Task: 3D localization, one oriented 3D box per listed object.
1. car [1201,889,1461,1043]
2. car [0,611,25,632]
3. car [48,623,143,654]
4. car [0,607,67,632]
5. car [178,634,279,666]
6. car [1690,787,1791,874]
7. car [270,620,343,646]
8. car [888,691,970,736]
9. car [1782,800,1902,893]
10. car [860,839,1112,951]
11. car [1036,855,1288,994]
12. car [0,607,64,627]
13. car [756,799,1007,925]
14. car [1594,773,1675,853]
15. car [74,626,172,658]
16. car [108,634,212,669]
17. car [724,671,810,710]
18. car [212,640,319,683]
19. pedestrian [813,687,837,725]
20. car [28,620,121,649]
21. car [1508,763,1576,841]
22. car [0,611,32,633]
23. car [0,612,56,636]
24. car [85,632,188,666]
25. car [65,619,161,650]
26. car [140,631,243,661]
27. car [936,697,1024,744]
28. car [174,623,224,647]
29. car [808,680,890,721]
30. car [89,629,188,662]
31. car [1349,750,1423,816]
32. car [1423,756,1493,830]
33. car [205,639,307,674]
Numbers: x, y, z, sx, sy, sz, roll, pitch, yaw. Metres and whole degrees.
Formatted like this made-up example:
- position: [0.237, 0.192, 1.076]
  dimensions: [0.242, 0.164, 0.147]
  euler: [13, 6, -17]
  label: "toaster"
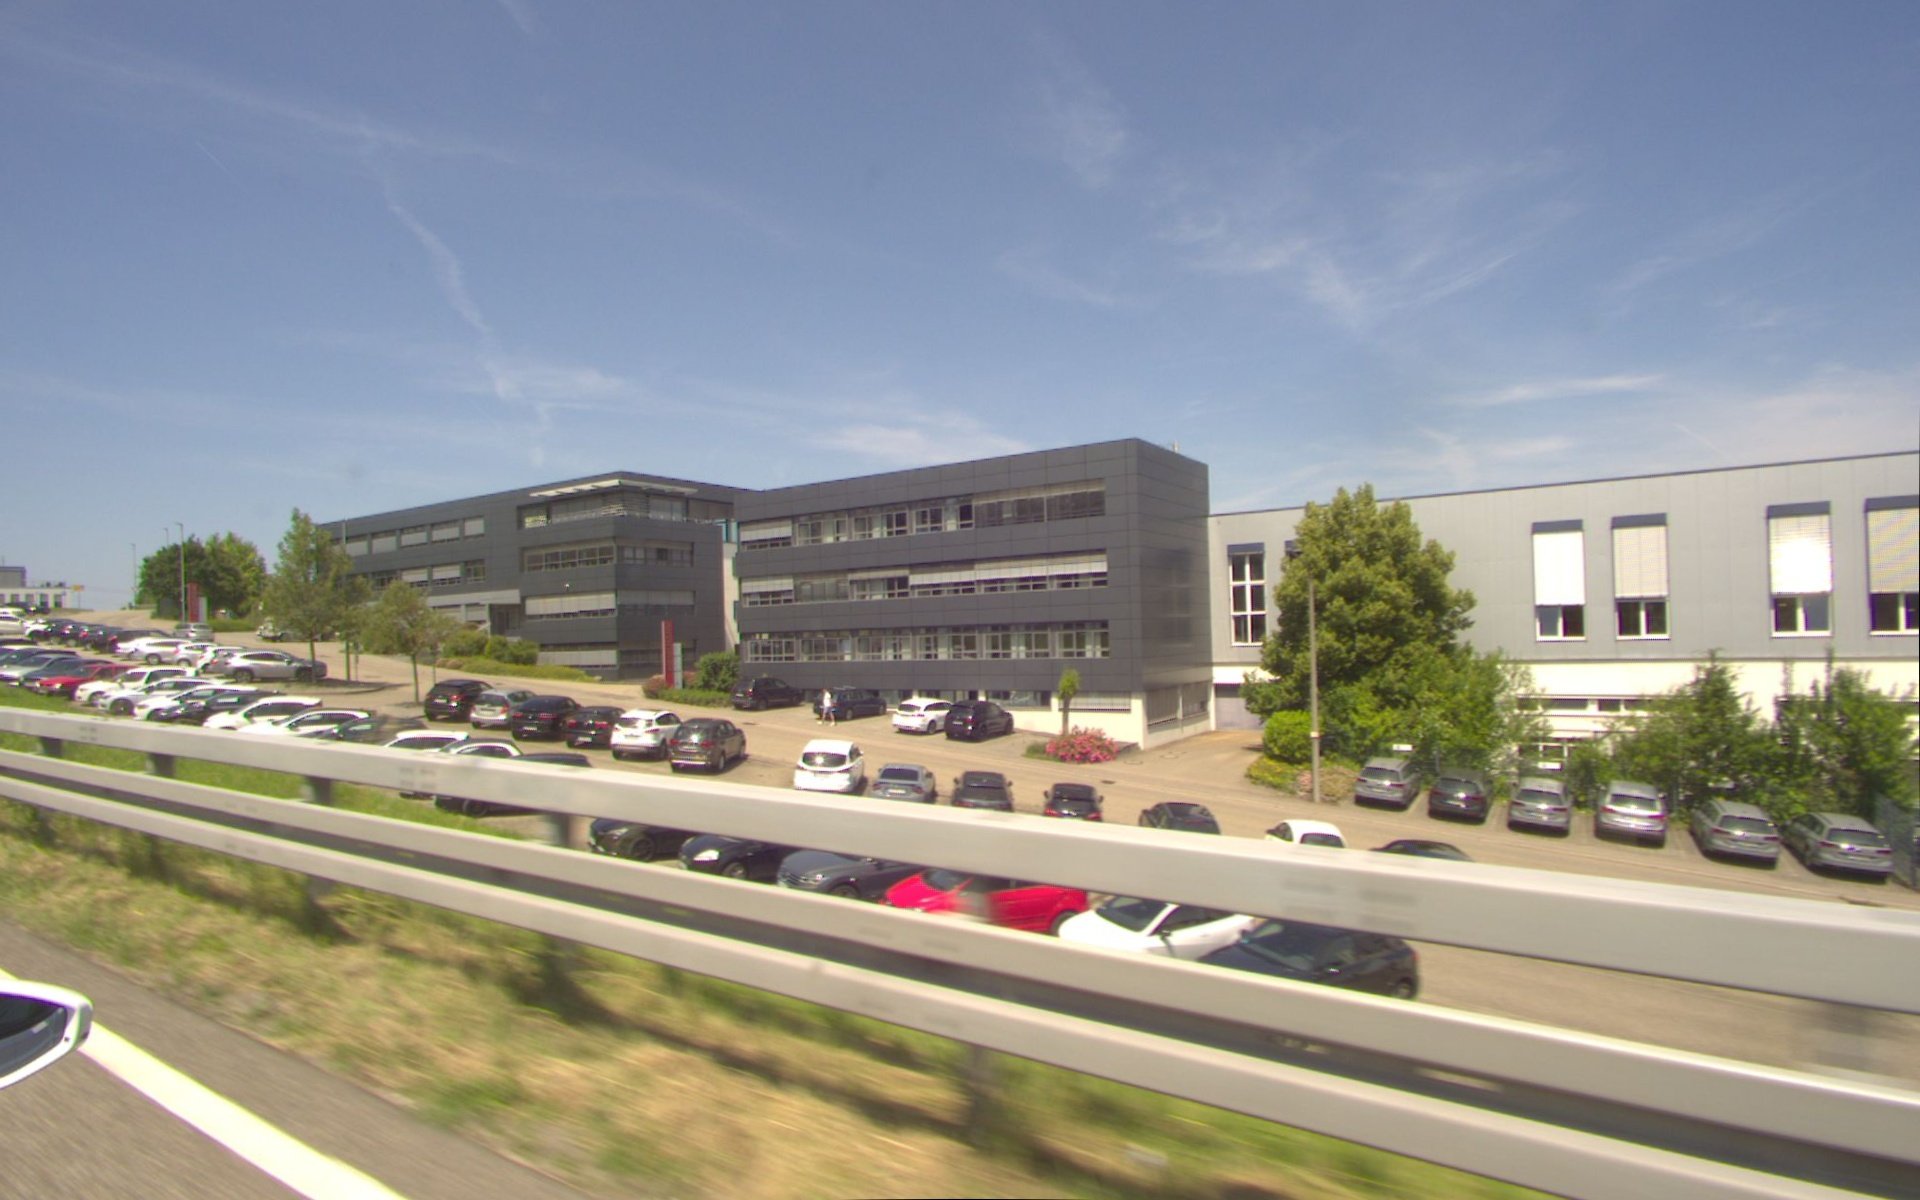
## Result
- position: [6.109, 5.800, 16.295]
  dimensions: [4.361, 1.561, 1.778]
  euler: [8, -5, -35]
  label: "car"
- position: [-80.141, 1.712, 82.327]
  dimensions: [4.531, 1.648, 1.809]
  euler: [3, -4, -36]
  label: "car"
- position: [-59.468, 2.670, 69.013]
  dimensions: [4.526, 1.648, 1.812]
  euler: [7, -5, -29]
  label: "car"
- position: [-70.432, 1.461, 75.363]
  dimensions: [4.532, 1.649, 1.808]
  euler: [5, -3, -35]
  label: "car"
- position: [-42.303, 2.861, 58.017]
  dimensions: [4.521, 1.498, 1.809]
  euler: [-1, 3, -31]
  label: "car"
- position: [23.636, 6.916, 30.475]
  dimensions: [1.883, 1.593, 4.030]
  euler: [2, 1, 31]
  label: "car"
- position: [-52.207, 2.599, 80.034]
  dimensions: [1.795, 1.975, 4.560]
  euler: [2, 0, 34]
  label: "car"
- position: [-1.409, 5.357, 47.730]
  dimensions: [1.792, 1.593, 4.568]
  euler: [3, 0, 29]
  label: "car"
- position: [25.683, 7.102, 29.312]
  dimensions: [1.883, 1.593, 4.030]
  euler: [2, 1, 31]
  label: "car"
- position: [0.492, 5.619, 19.266]
  dimensions: [4.342, 1.577, 1.981]
  euler: [7, -4, -22]
  label: "car"
- position: [3.692, 5.674, 17.946]
  dimensions: [4.361, 1.682, 1.886]
  euler: [8, -5, -35]
  label: "car"
- position: [-89.438, 1.632, 96.250]
  dimensions: [4.512, 1.649, 1.816]
  euler: [3, -3, -22]
  label: "car"
- position: [-1.596, 5.341, 20.836]
  dimensions: [4.665, 2.037, 2.068]
  euler: [7, -5, -30]
  label: "car"
- position: [21.723, 6.804, 32.373]
  dimensions: [1.883, 1.593, 4.030]
  euler: [2, 1, 31]
  label: "car"
- position: [-54.953, 2.781, 65.846]
  dimensions: [4.526, 1.648, 1.812]
  euler: [7, -5, -29]
  label: "car"
- position: [-48.422, 3.124, 60.731]
  dimensions: [4.526, 1.648, 1.812]
  euler: [7, -5, -29]
  label: "car"
- position: [-10.139, 4.737, 52.895]
  dimensions: [1.794, 1.669, 4.564]
  euler: [3, 0, 32]
  label: "car"
- position: [-37.697, 3.349, 54.513]
  dimensions: [4.528, 1.650, 1.808]
  euler: [7, 4, -31]
  label: "car"
- position: [-6.443, 5.062, 47.798]
  dimensions: [0.817, 1.743, 0.631]
  euler: [2, -4, 34]
  label: "pedestrian"
- position: [-62.531, 2.449, 70.826]
  dimensions: [4.526, 1.648, 1.812]
  euler: [7, -5, -29]
  label: "car"
- position: [19.463, 6.653, 33.450]
  dimensions: [1.793, 1.593, 4.564]
  euler: [2, 1, 31]
  label: "car"
- position: [-77.954, 1.675, 80.527]
  dimensions: [4.533, 1.649, 1.808]
  euler: [5, -3, -35]
  label: "car"
- position: [-72.683, 1.820, 76.921]
  dimensions: [4.532, 1.648, 1.808]
  euler: [5, -4, -35]
  label: "car"
- position: [-50.935, 3.042, 62.054]
  dimensions: [4.526, 1.648, 1.812]
  euler: [7, -5, -29]
  label: "car"
- position: [-56.968, 2.323, 67.434]
  dimensions: [4.526, 1.648, 1.812]
  euler: [7, -5, -29]
  label: "car"
- position: [-45.357, 2.742, 59.236]
  dimensions: [4.516, 1.541, 1.812]
  euler: [2, 2, -26]
  label: "car"
- position: [0.983, 5.496, 46.150]
  dimensions: [1.795, 1.593, 4.560]
  euler: [3, 0, 34]
  label: "car"
- position: [-57.269, 2.625, 75.335]
  dimensions: [3.946, 1.682, 1.803]
  euler: [-1, -4, 35]
  label: "car"
- position: [-5.550, 5.026, 50.733]
  dimensions: [1.792, 1.593, 4.568]
  euler: [3, 0, 29]
  label: "car"
- position: [-52.472, 2.911, 64.068]
  dimensions: [4.526, 1.648, 1.812]
  euler: [7, -5, -29]
  label: "car"
- position: [15.398, 6.497, 36.065]
  dimensions: [1.793, 1.592, 4.566]
  euler: [2, -1, 31]
  label: "car"
- position: [17.332, 6.604, 34.745]
  dimensions: [1.793, 1.593, 4.564]
  euler: [2, 1, 31]
  label: "car"
- position: [-39.586, 3.191, 56.438]
  dimensions: [4.524, 1.651, 1.809]
  euler: [4, 3, -31]
  label: "car"
